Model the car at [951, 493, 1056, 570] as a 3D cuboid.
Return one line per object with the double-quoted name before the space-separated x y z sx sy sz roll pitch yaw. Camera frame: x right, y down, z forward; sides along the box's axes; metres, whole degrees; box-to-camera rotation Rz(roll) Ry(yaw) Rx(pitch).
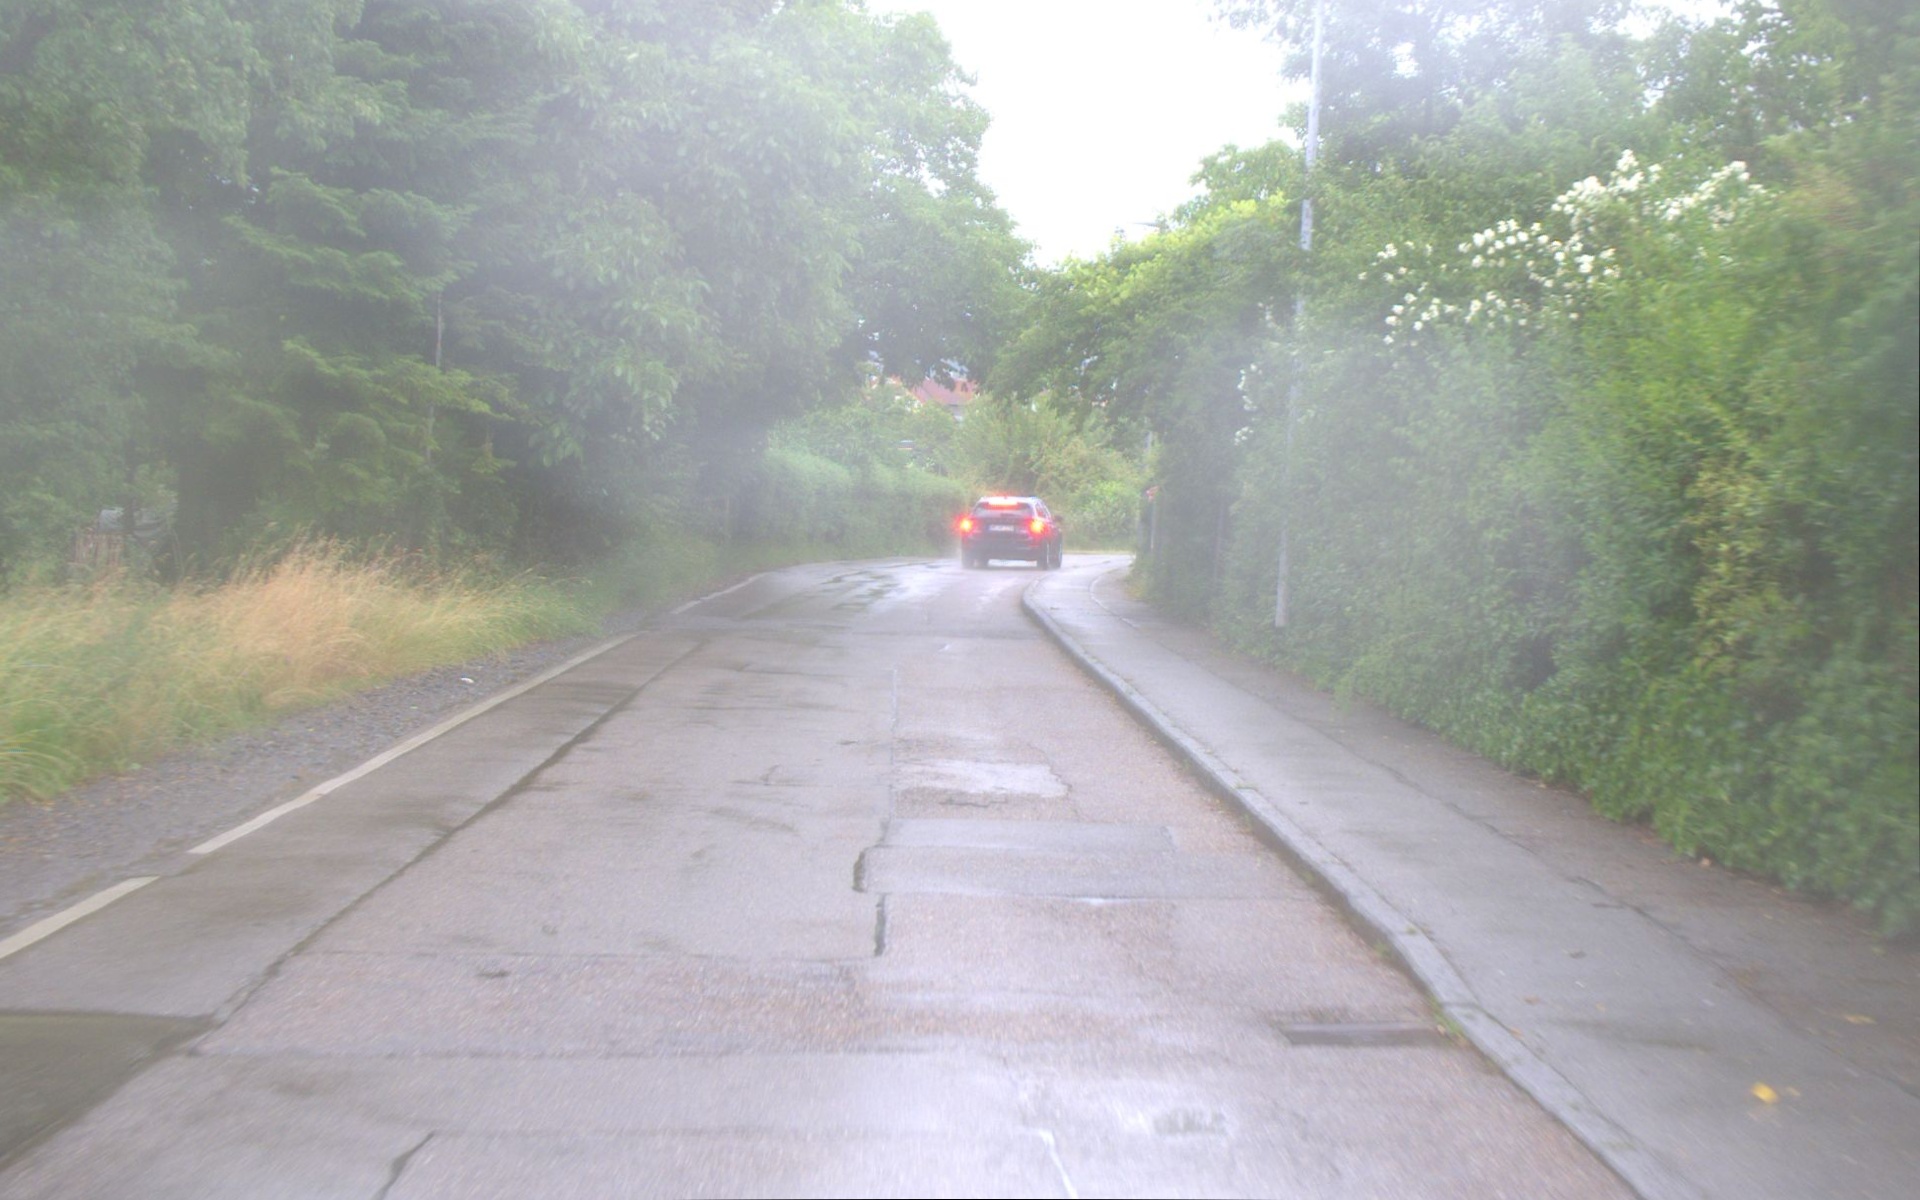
"car" 0.920 -1.377 70.115 1.635 1.445 3.543 2 0 8
